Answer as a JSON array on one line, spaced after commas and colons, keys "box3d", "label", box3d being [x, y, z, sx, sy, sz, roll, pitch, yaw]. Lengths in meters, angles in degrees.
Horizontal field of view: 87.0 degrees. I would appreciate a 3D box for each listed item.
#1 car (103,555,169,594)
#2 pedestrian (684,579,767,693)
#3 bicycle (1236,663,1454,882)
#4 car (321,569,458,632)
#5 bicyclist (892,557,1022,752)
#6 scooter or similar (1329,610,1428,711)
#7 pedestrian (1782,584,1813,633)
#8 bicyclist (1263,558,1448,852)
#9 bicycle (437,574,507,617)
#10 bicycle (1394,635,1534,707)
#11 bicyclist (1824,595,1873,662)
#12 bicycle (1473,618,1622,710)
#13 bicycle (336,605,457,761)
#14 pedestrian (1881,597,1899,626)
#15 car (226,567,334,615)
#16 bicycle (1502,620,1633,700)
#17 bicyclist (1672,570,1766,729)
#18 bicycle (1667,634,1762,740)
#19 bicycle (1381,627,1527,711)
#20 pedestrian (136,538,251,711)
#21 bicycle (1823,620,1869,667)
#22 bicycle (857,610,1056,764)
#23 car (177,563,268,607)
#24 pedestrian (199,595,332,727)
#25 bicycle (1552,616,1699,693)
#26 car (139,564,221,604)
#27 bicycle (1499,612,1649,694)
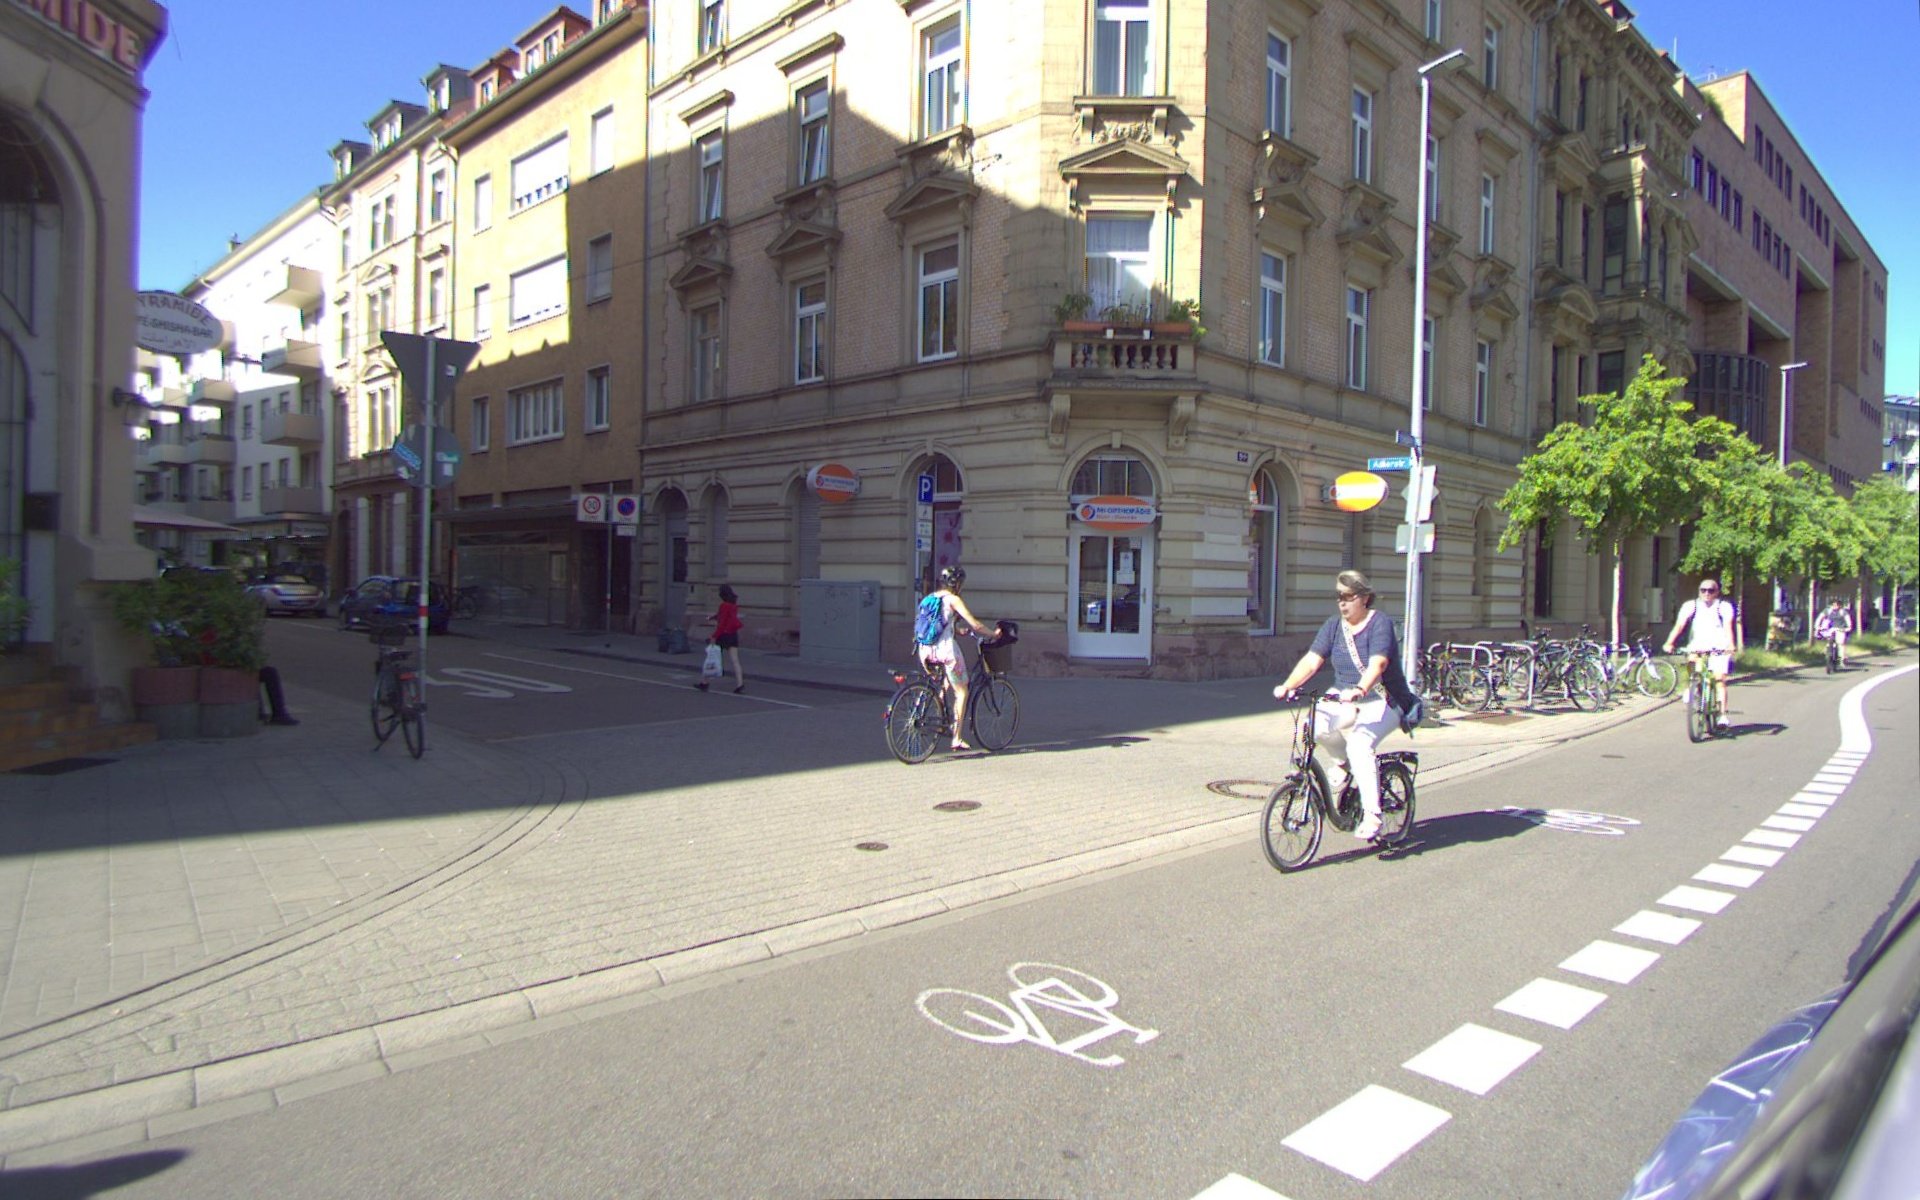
[{"box3d": [-37.560, -1.170, 46.116, 3.758, 1.686, 1.775, 2, 1, 42], "label": "car"}, {"box3d": [-3.358, 0.484, 14.499, 0.917, 1.561, 0.705, 1, 1, 25], "label": "pedestrian"}, {"box3d": [2.273, 0.930, 5.900, 1.481, 1.040, 0.558, 0, -1, -41], "label": "bicycle"}, {"box3d": [-14.674, -0.004, 25.952, 3.983, 1.438, 1.775, 2, -1, 40], "label": "car"}, {"box3d": [-0.023, 0.456, 9.147, 0.944, 1.660, 0.667, 1, 1, -41], "label": "bicyclist"}, {"box3d": [5.382, 0.754, 13.060, 0.411, 1.204, 1.115, 1, 1, -33], "label": "scooter or similar"}, {"box3d": [33.675, 0.335, 40.692, 1.087, 1.906, 0.789, 0, 1, -41], "label": "pedestrian"}, {"box3d": [2.315, 0.560, 5.913, 0.893, 1.557, 0.658, 1, -1, -41], "label": "bicyclist"}, {"box3d": [-14.413, -0.144, 29.900, 1.988, 1.193, 0.629, 1, 1, 19], "label": "bicycle"}, {"box3d": [7.051, 0.963, 14.237, 0.595, 0.831, 1.677, 1, 2, -33], "label": "bicycle"}, {"box3d": [22.016, 0.700, 25.085, 0.748, 1.637, 0.755, 1, -1, -38], "label": "bicyclist"}, {"box3d": [8.519, 0.891, 14.744, 0.595, 1.114, 1.729, 1, 3, -37], "label": "bicycle"}, {"box3d": [-5.024, 0.684, 8.974, 0.641, 1.186, 1.823, 5, -1, -36], "label": "bicycle"}, {"box3d": [50.649, 0.616, 55.100, 0.723, 1.505, 0.633, 0, 1, -41], "label": "pedestrian"}, {"box3d": [-21.363, -0.288, 31.757, 3.983, 1.351, 1.775, 2, -1, 40], "label": "car"}, {"box3d": [9.528, 0.916, 15.919, 0.595, 1.058, 1.605, 1, 3, -37], "label": "bicycle"}, {"box3d": [8.795, 0.551, 11.731, 0.893, 1.751, 0.684, 1, -1, -41], "label": "bicyclist"}, {"box3d": [8.731, 0.969, 11.701, 1.481, 1.110, 0.577, 0, -1, -41], "label": "bicycle"}, {"box3d": [6.648, 0.902, 13.701, 0.595, 0.955, 1.677, 1, 1, -33], "label": "bicycle"}, {"box3d": [-8.378, 0.251, 11.058, 0.906, 1.783, 0.854, 0, 0, 43], "label": "pedestrian"}, {"box3d": [21.865, 1.054, 24.972, 1.480, 1.110, 0.578, 0, -1, -38], "label": "bicycle"}, {"box3d": [0.011, 0.720, 9.155, 1.867, 1.238, 0.584, 0, 1, -42], "label": "bicycle"}, {"box3d": [-26.059, -0.544, 35.734, 3.757, 1.450, 1.776, 2, 1, 40], "label": "car"}, {"box3d": [-6.870, 0.564, 10.019, 0.849, 1.229, 0.920, 0, 0, 43], "label": "pedestrian"}, {"box3d": [11.511, 0.907, 17.549, 1.993, 1.106, 0.835, 5, 3, 40], "label": "bicycle"}, {"box3d": [-30.109, -0.645, 39.054, 3.757, 1.450, 1.776, 2, 1, 40], "label": "car"}, {"box3d": [10.286, 0.856, 17.024, 0.697, 1.142, 2.001, 1, 3, -39], "label": "bicycle"}]
